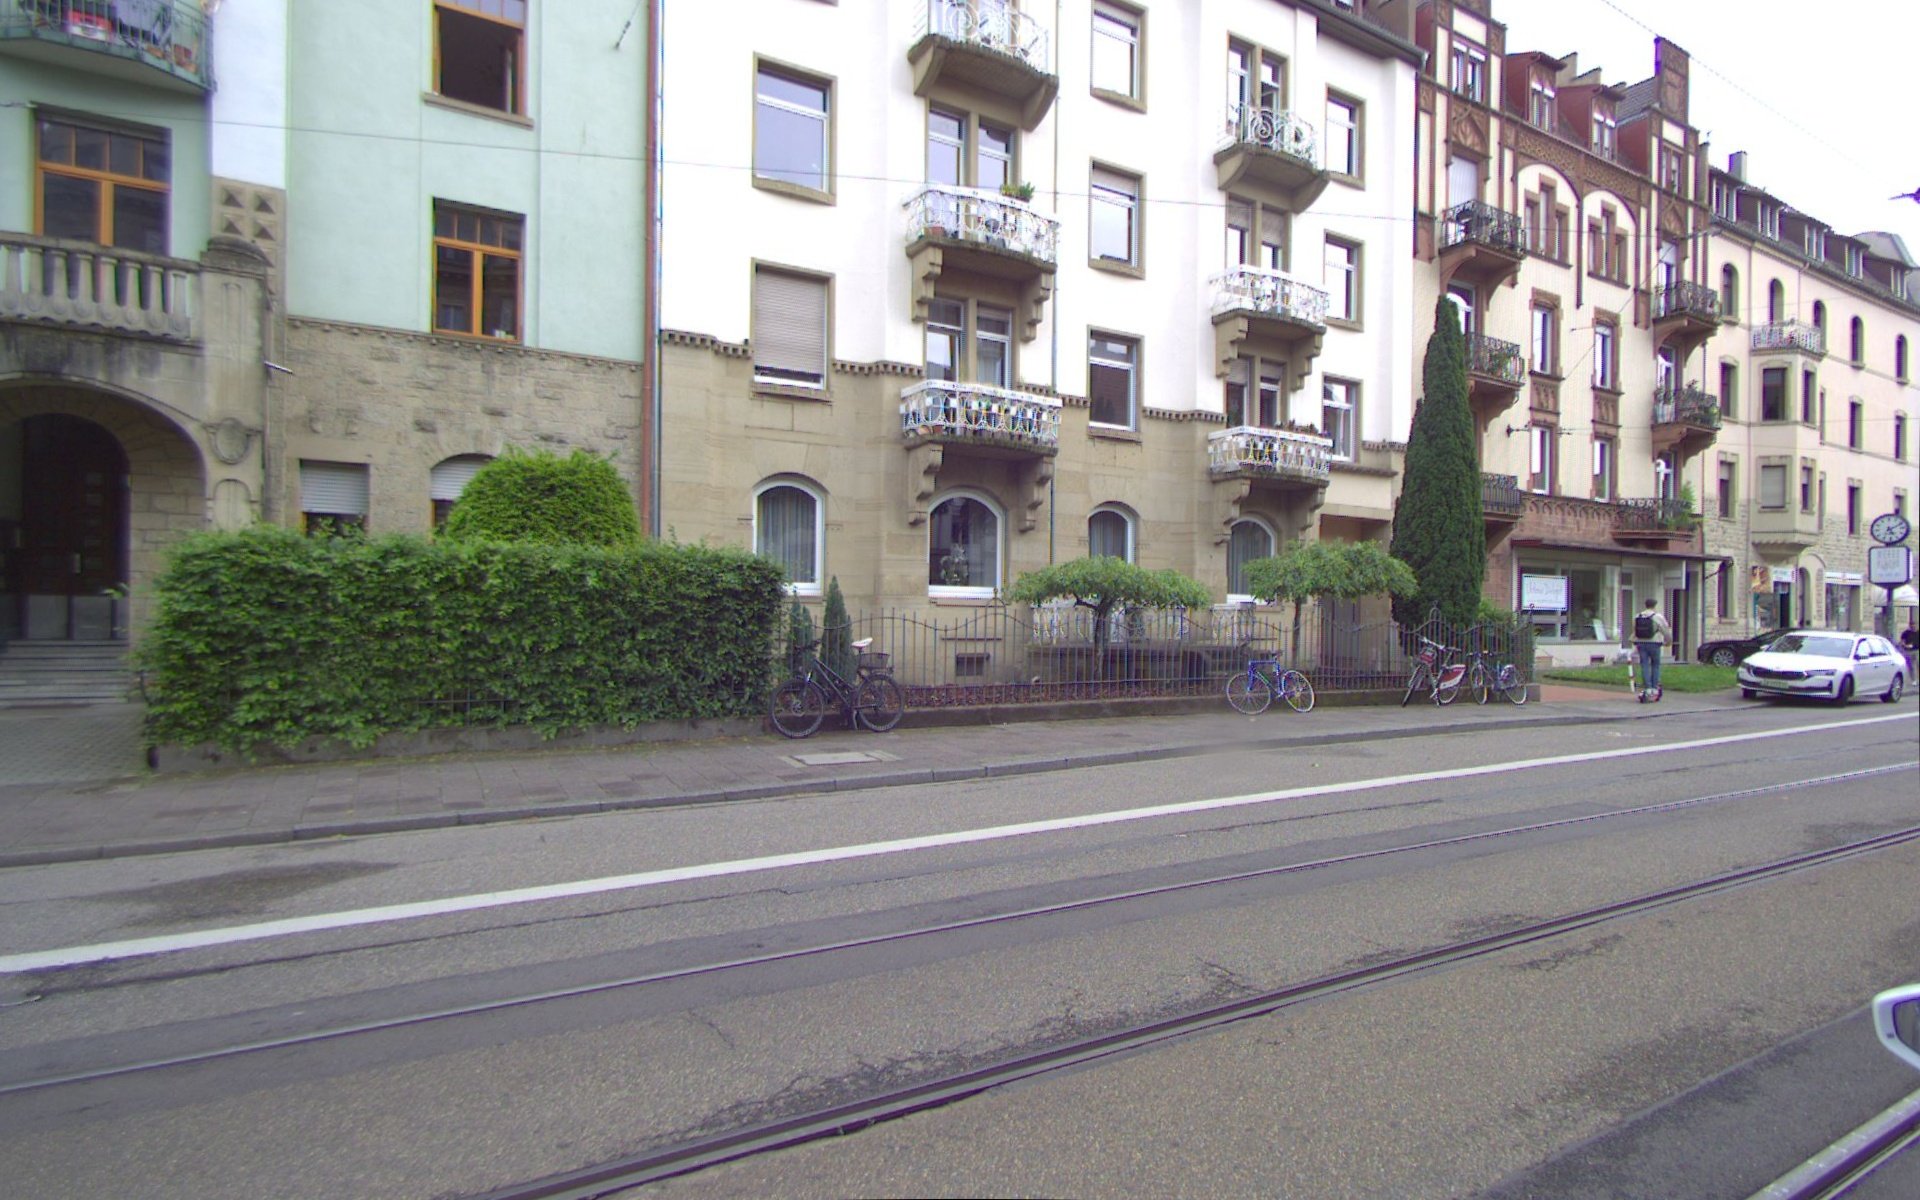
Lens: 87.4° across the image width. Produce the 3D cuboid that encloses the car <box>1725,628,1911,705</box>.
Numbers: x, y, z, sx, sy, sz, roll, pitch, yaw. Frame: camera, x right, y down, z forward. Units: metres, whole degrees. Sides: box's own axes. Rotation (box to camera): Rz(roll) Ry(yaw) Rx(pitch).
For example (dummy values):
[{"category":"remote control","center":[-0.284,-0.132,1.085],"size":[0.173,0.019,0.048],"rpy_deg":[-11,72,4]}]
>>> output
[{"category":"car","center":[18.544,1.368,21.663],"size":[4.557,1.504,1.738],"rpy_deg":[1,-1,-31]}]

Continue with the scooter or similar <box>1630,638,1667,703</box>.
[{"category":"scooter or similar","center":[13.614,1.386,19.853],"size":[0.942,1.250,0.230],"rpy_deg":[1,-1,-30]}]

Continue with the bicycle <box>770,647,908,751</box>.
[{"category":"bicycle","center":[-1.350,1.082,11.312],"size":[1.529,1.098,0.358],"rpy_deg":[1,-1,-31]}]

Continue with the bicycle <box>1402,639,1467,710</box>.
[{"category":"bicycle","center":[7.975,1.227,16.854],"size":[1.613,1.116,0.381],"rpy_deg":[1,-1,-42]}]

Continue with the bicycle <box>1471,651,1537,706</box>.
[{"category":"bicycle","center":[9.897,1.405,18.261],"size":[1.498,0.950,0.330],"rpy_deg":[1,-1,-31]}]

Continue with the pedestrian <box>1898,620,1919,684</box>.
[{"category":"pedestrian","center":[28.071,1.516,29.477],"size":[0.875,1.868,0.662],"rpy_deg":[1,-1,-40]}]

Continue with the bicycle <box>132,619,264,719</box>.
[{"category":"bicycle","center":[-8.819,0.780,11.659],"size":[1.195,1.098,0.297],"rpy_deg":[1,2,-37]}]

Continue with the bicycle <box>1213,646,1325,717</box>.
[{"category":"bicycle","center":[4.636,1.211,15.053],"size":[1.640,0.938,0.358],"rpy_deg":[0,-19,-28]}]

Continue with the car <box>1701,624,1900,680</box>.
[{"category":"car","center":[26.092,1.559,31.327],"size":[1.861,1.389,4.397],"rpy_deg":[1,1,-34]}]

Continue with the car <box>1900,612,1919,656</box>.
[{"category":"car","center":[54.191,1.883,54.782],"size":[2.142,2.449,5.382],"rpy_deg":[0,-1,18]}]

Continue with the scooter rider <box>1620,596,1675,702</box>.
[{"category":"scooter rider","center":[13.600,0.957,19.868],"size":[0.749,2.040,0.639],"rpy_deg":[1,-1,-30]}]
